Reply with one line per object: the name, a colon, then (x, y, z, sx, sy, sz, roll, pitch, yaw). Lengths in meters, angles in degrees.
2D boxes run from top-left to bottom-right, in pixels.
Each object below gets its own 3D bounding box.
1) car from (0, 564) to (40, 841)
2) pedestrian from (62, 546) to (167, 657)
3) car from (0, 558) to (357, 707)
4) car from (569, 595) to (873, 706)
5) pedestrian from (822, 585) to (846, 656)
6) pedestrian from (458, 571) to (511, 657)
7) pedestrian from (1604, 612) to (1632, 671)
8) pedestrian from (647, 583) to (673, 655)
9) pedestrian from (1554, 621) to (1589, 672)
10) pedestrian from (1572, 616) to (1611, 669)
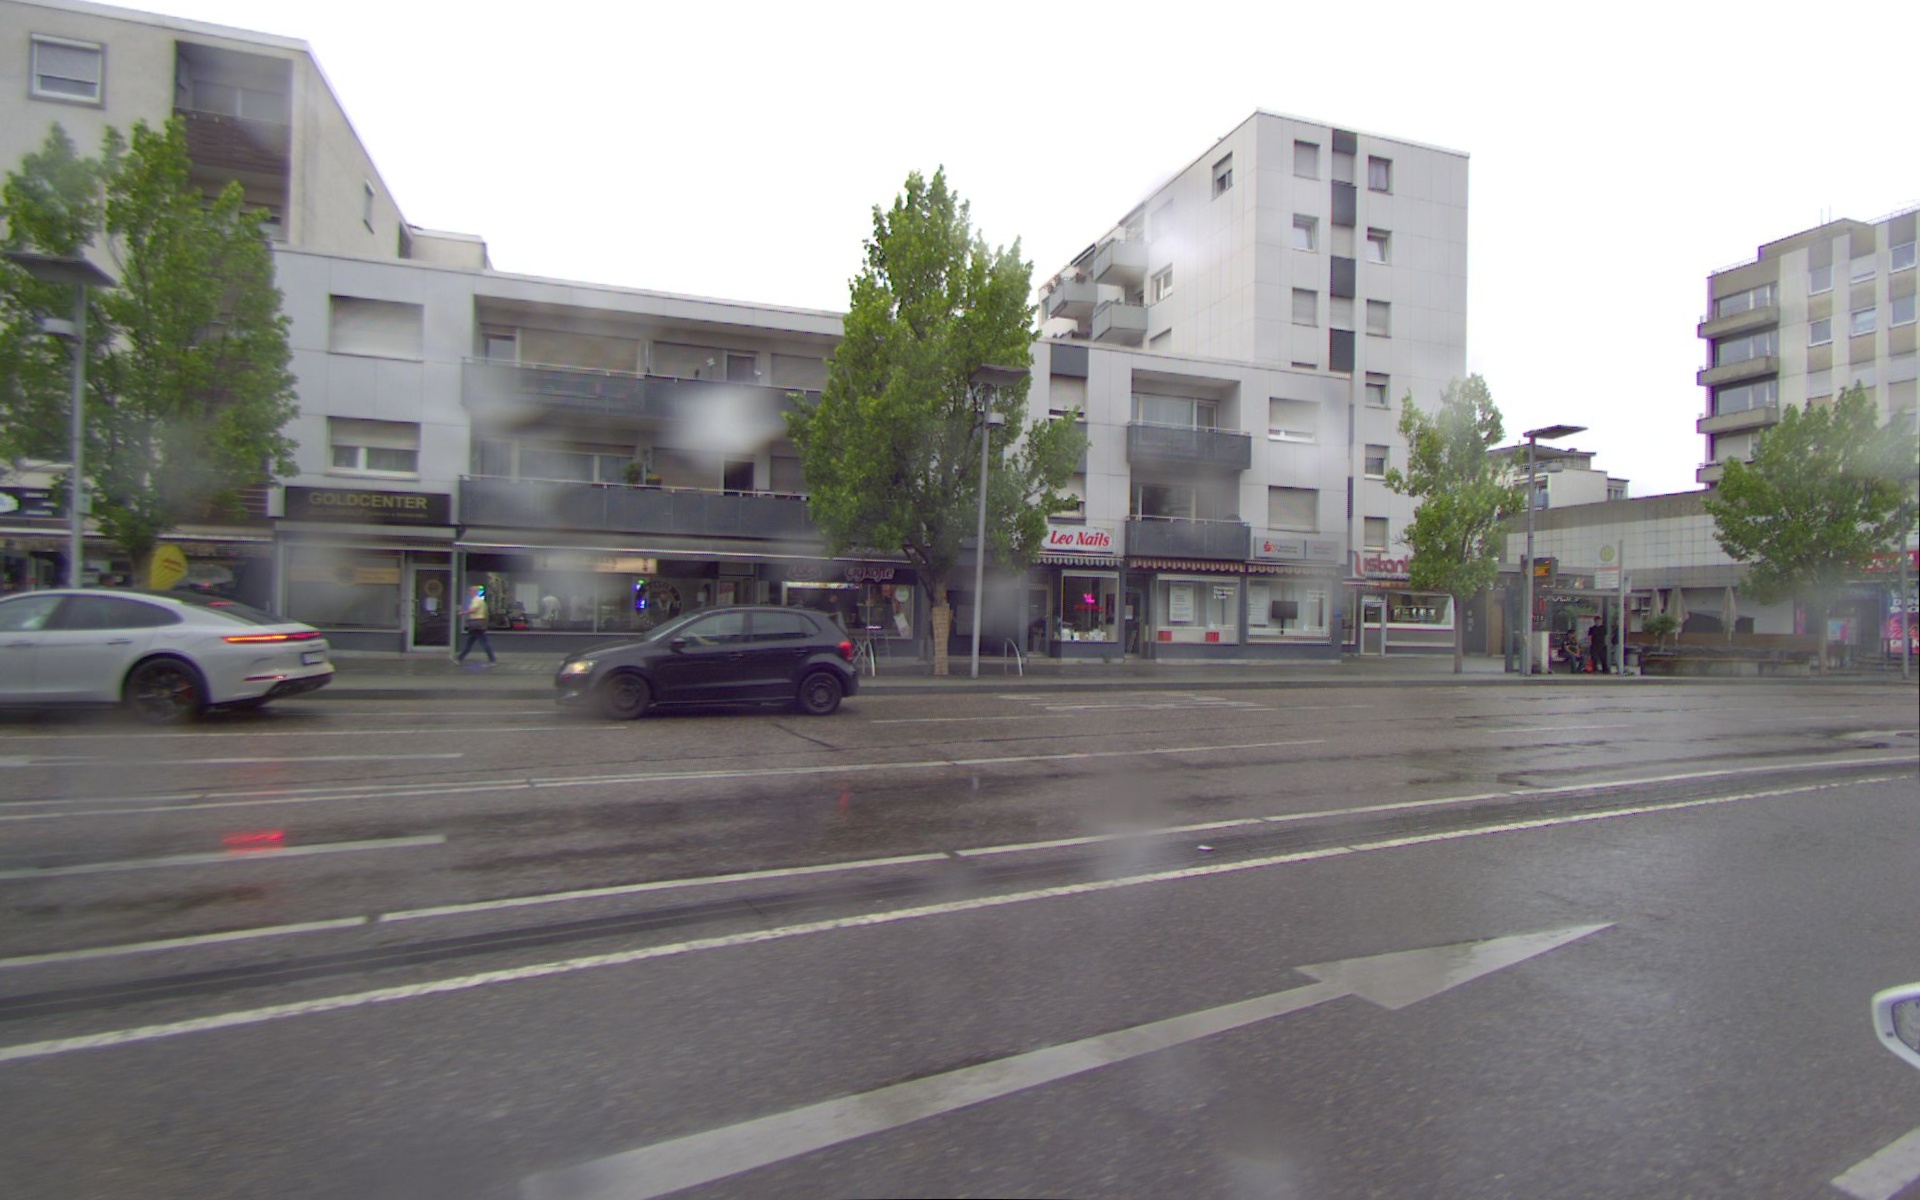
car: (-6.663, 0.519, 4.088, 3.940, 1.460, 1.735, 1, 0, -27)
pedestrian: (-13.168, 0.028, 15.676, 0.794, 1.644, 0.951, 2, -1, -5)
car: (-10.055, 0.296, 11.370, 5.055, 1.432, 2.119, 3, 0, -12)
car: (-3.156, 0.654, 13.287, 3.722, 1.314, 1.432, 2, 0, -22)
pedestrian: (-3.268, 0.537, 26.095, 0.483, 1.817, 0.566, 3, -1, -15)
pedestrian: (-10.437, 0.307, 22.059, 0.911, 1.835, 0.870, 2, -1, -21)
pedestrian: (19.811, 1.242, 30.236, 0.530, 1.741, 0.485, 1, 0, -24)
pedestrian: (-7.430, 0.463, 24.854, 0.493, 1.747, 0.446, 3, -1, -23)
pedestrian: (18.501, 1.405, 30.396, 0.628, 1.490, 0.631, 1, 0, -28)
pedestrian: (19.423, 1.311, 30.907, 0.628, 1.592, 0.791, 1, 0, -28)
